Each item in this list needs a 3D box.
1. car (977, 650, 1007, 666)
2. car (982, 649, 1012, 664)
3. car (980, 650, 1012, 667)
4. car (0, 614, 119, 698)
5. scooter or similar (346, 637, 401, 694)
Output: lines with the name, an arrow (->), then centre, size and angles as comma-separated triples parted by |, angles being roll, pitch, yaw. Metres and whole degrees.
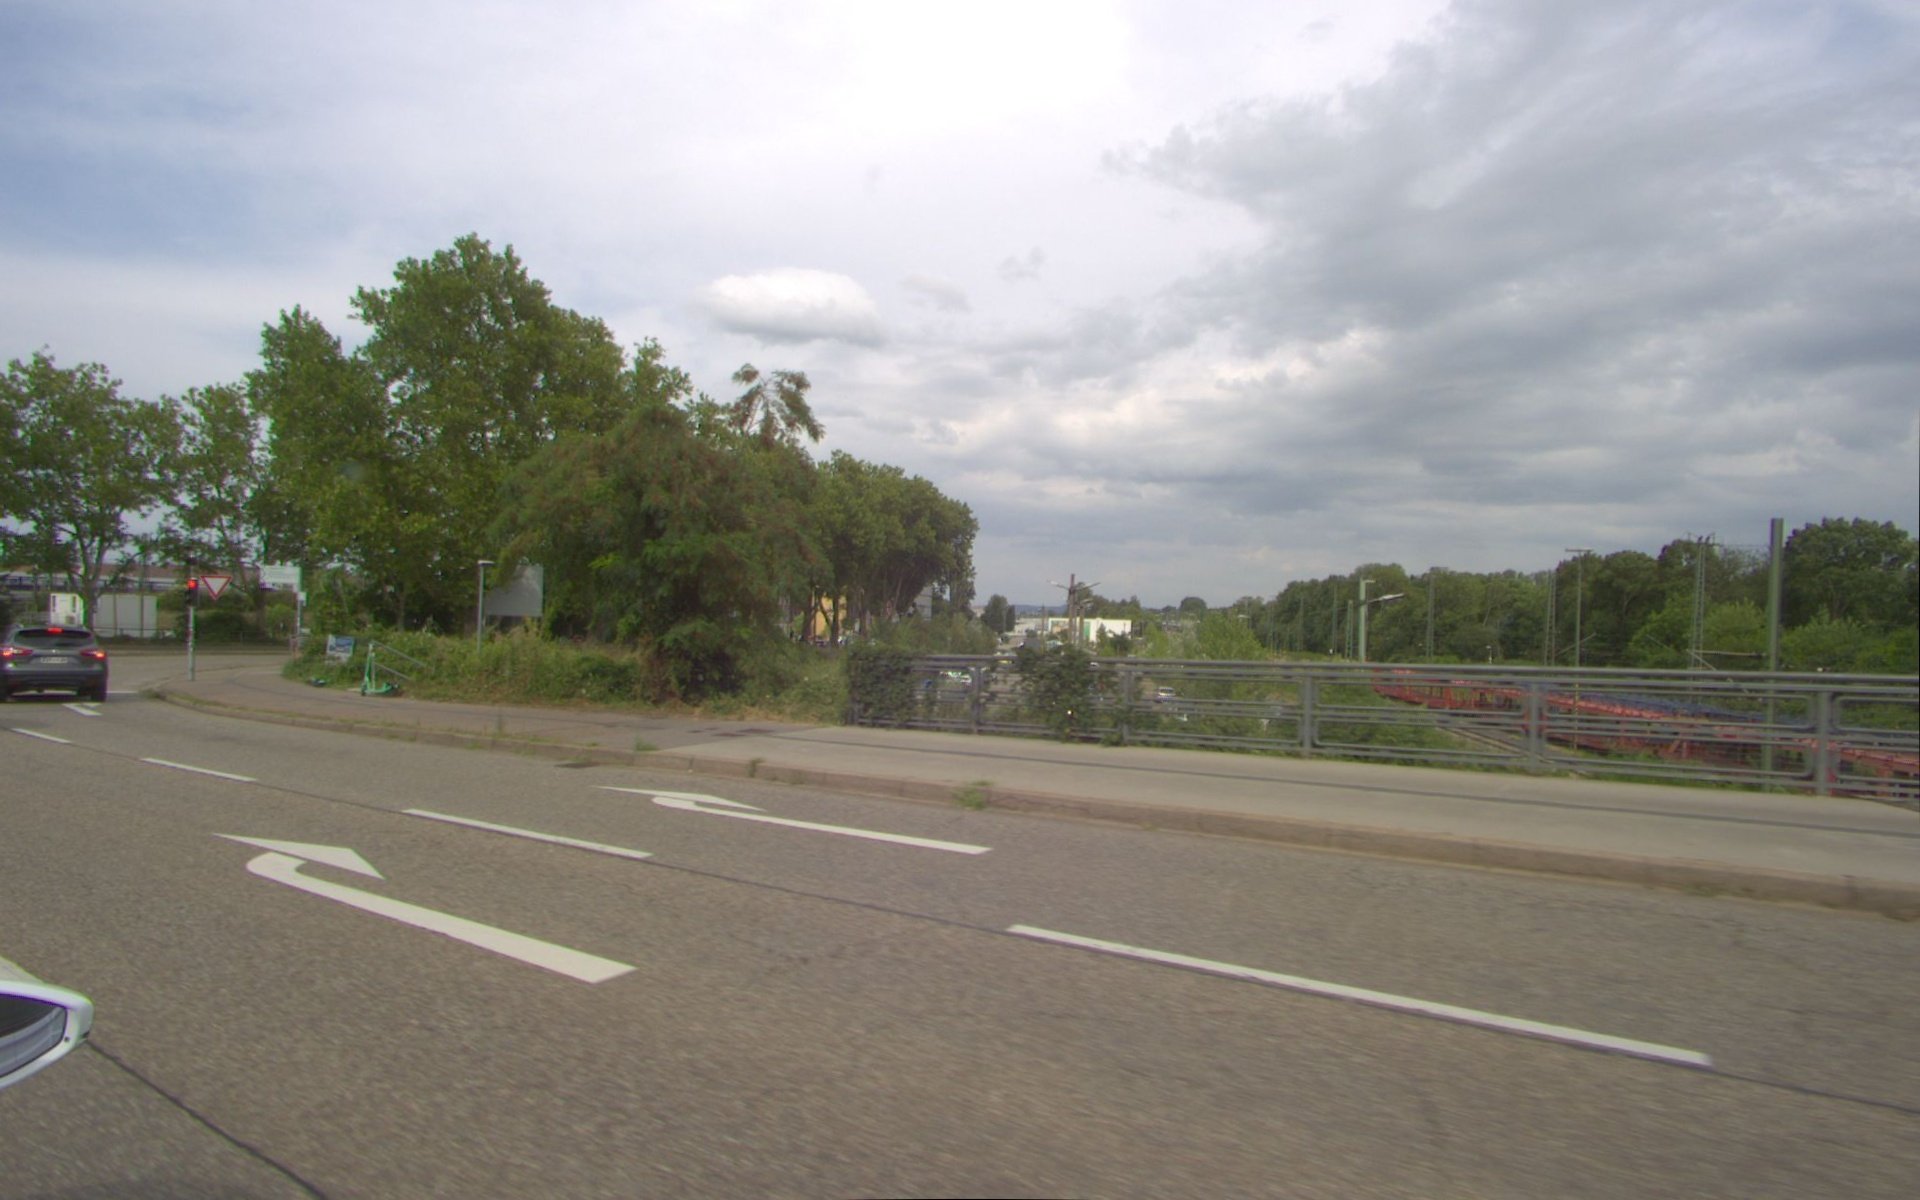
car -> 4.327, 7.800, 135.351 | 3.923, 2.040, 1.762 | 1, 0, 10
car -> 5.154, 7.908, 140.289 | 3.923, 2.040, 1.762 | 1, 0, 10
car -> 4.739, 7.760, 132.480 | 3.923, 2.040, 1.762 | 1, 0, 10
car -> -19.936, 1.187, 21.720 | 4.086, 1.663, 1.745 | -1, -4, 38
scooter or similar -> -12.770, 1.414, 21.795 | 1.260, 1.198, 0.396 | 0, -1, 27
